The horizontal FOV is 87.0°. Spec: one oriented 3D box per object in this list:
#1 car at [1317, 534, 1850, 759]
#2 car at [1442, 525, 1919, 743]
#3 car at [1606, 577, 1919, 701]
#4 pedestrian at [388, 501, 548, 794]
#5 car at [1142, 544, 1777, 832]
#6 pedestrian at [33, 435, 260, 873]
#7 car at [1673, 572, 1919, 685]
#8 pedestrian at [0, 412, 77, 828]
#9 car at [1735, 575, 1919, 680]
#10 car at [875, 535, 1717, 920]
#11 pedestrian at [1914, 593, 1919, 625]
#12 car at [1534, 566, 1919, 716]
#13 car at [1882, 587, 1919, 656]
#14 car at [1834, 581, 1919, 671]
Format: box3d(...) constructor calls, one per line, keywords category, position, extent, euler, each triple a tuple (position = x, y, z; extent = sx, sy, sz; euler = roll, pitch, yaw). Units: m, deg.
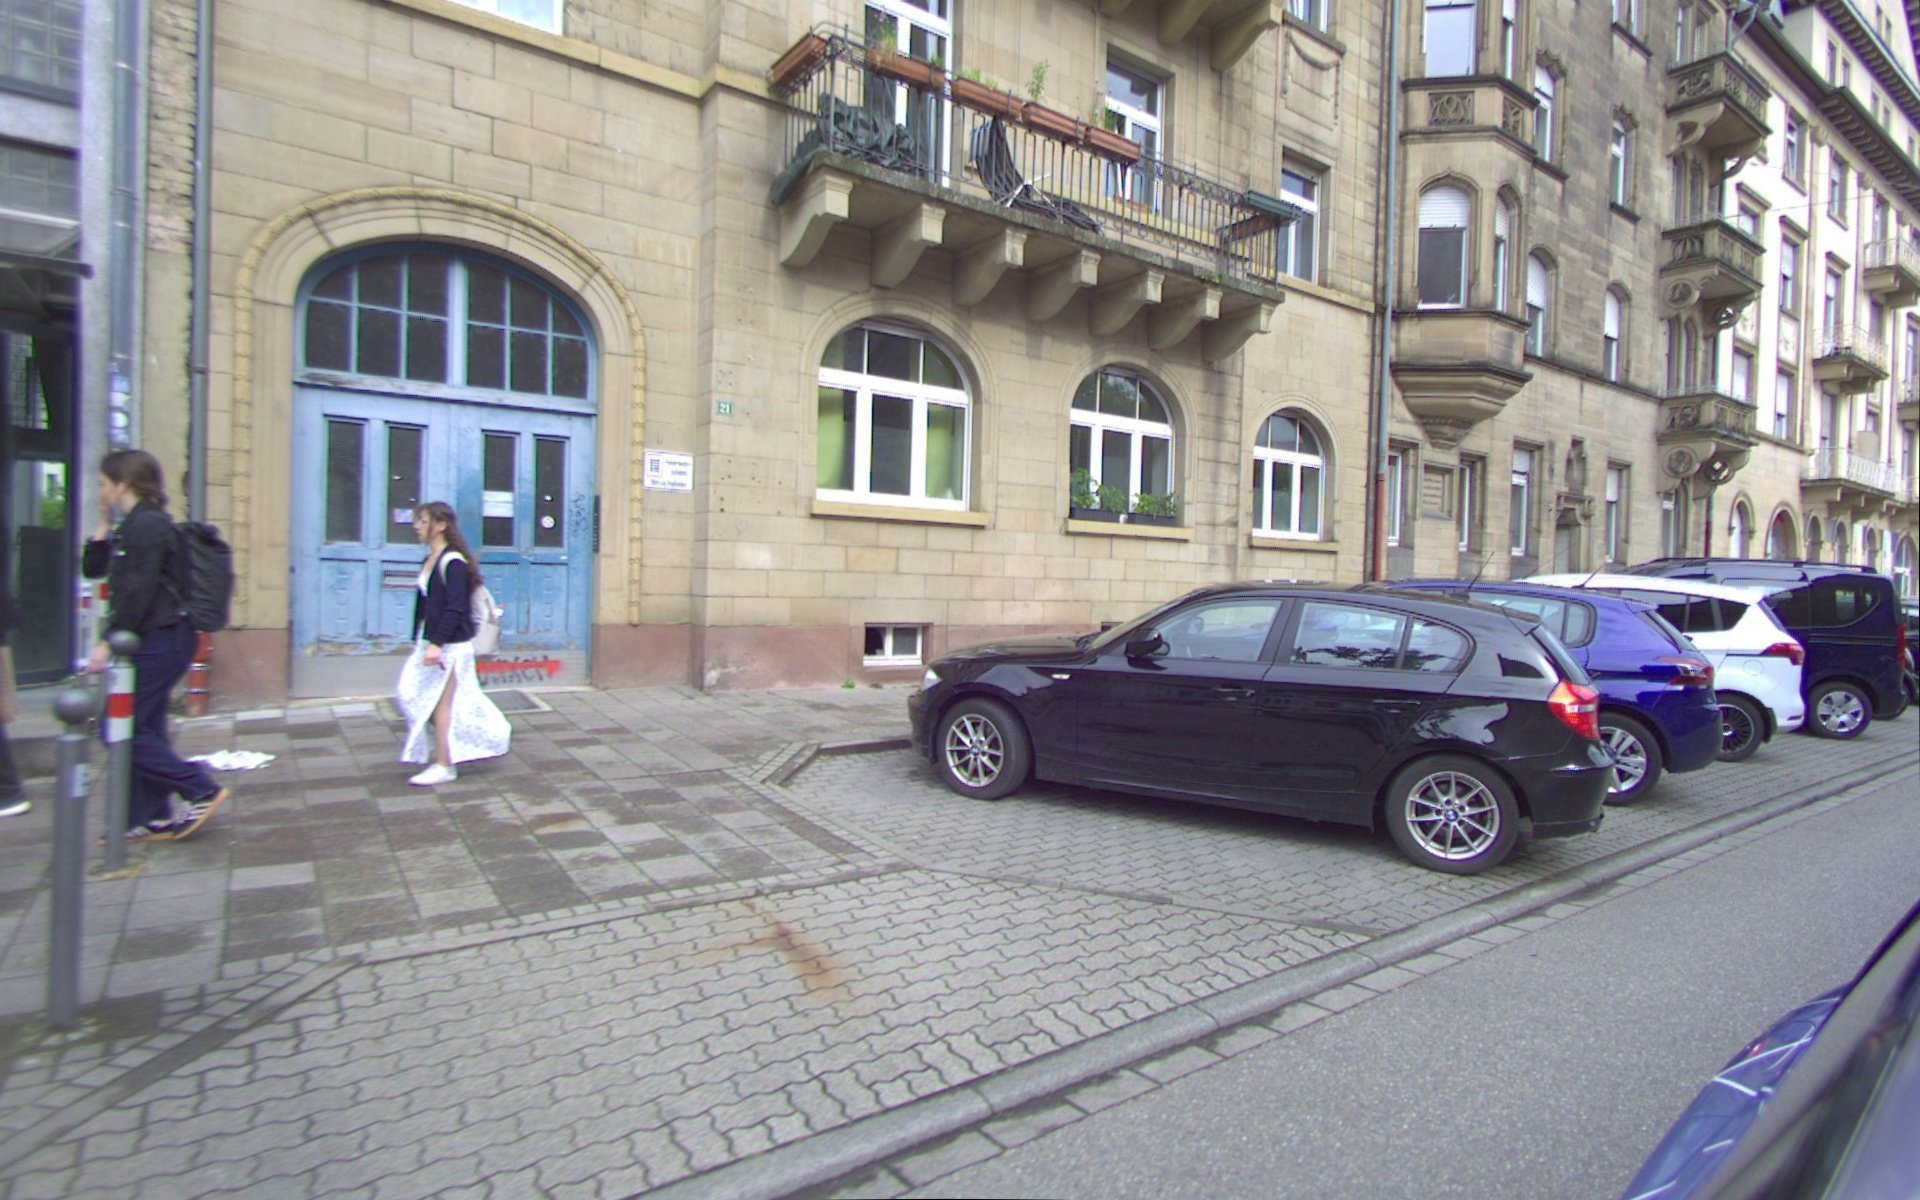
box3d(category="car", position=(5.732, 0.335, 9.896), extent=(3.944, 1.620, 1.758), euler=(5, 3, 15))
box3d(category="car", position=(8.140, 0.290, 11.632), extent=(4.220, 1.929, 1.873), euler=(5, 3, 13))
box3d(category="car", position=(12.742, 0.551, 15.449), extent=(4.403, 1.571, 1.843), euler=(3, 2, 16))
box3d(category="pedestrian", position=(-2.757, 0.228, 5.673), extent=(0.704, 1.528, 0.519), euler=(-1, 4, -39))
box3d(category="car", position=(3.695, 0.496, 8.113), extent=(3.961, 1.552, 1.915), euler=(6, 3, 25))
box3d(category="pedestrian", position=(-3.426, 0.192, 4.301), extent=(0.704, 1.682, 0.519), euler=(-1, 4, -39))
box3d(category="car", position=(15.030, 0.491, 17.098), extent=(4.404, 1.593, 1.739), euler=(5, 3, 16))
box3d(category="pedestrian", position=(-4.509, 0.074, 4.597), extent=(0.704, 1.820, 0.669), euler=(-1, 4, -39))
box3d(category="car", position=(17.744, 0.552, 18.896), extent=(4.691, 1.705, 1.926), euler=(4, 4, 19))
box3d(category="car", position=(1.769, 0.525, 6.238), extent=(4.213, 1.496, 1.673), euler=(6, 3, 22))
box3d(category="pedestrian", position=(52.386, 0.490, 54.715), extent=(0.728, 1.716, 0.880), euler=(0, 1, -10))
box3d(category="car", position=(10.402, 0.468, 13.742), extent=(4.016, 1.470, 2.023), euler=(6, 4, 16))
box3d(category="car", position=(24.782, 0.680, 24.013), extent=(3.771, 1.579, 1.792), euler=(5, 5, 8))
box3d(category="car", position=(20.832, 0.616, 20.513), extent=(4.174, 1.702, 1.904), euler=(4, 4, 21))
